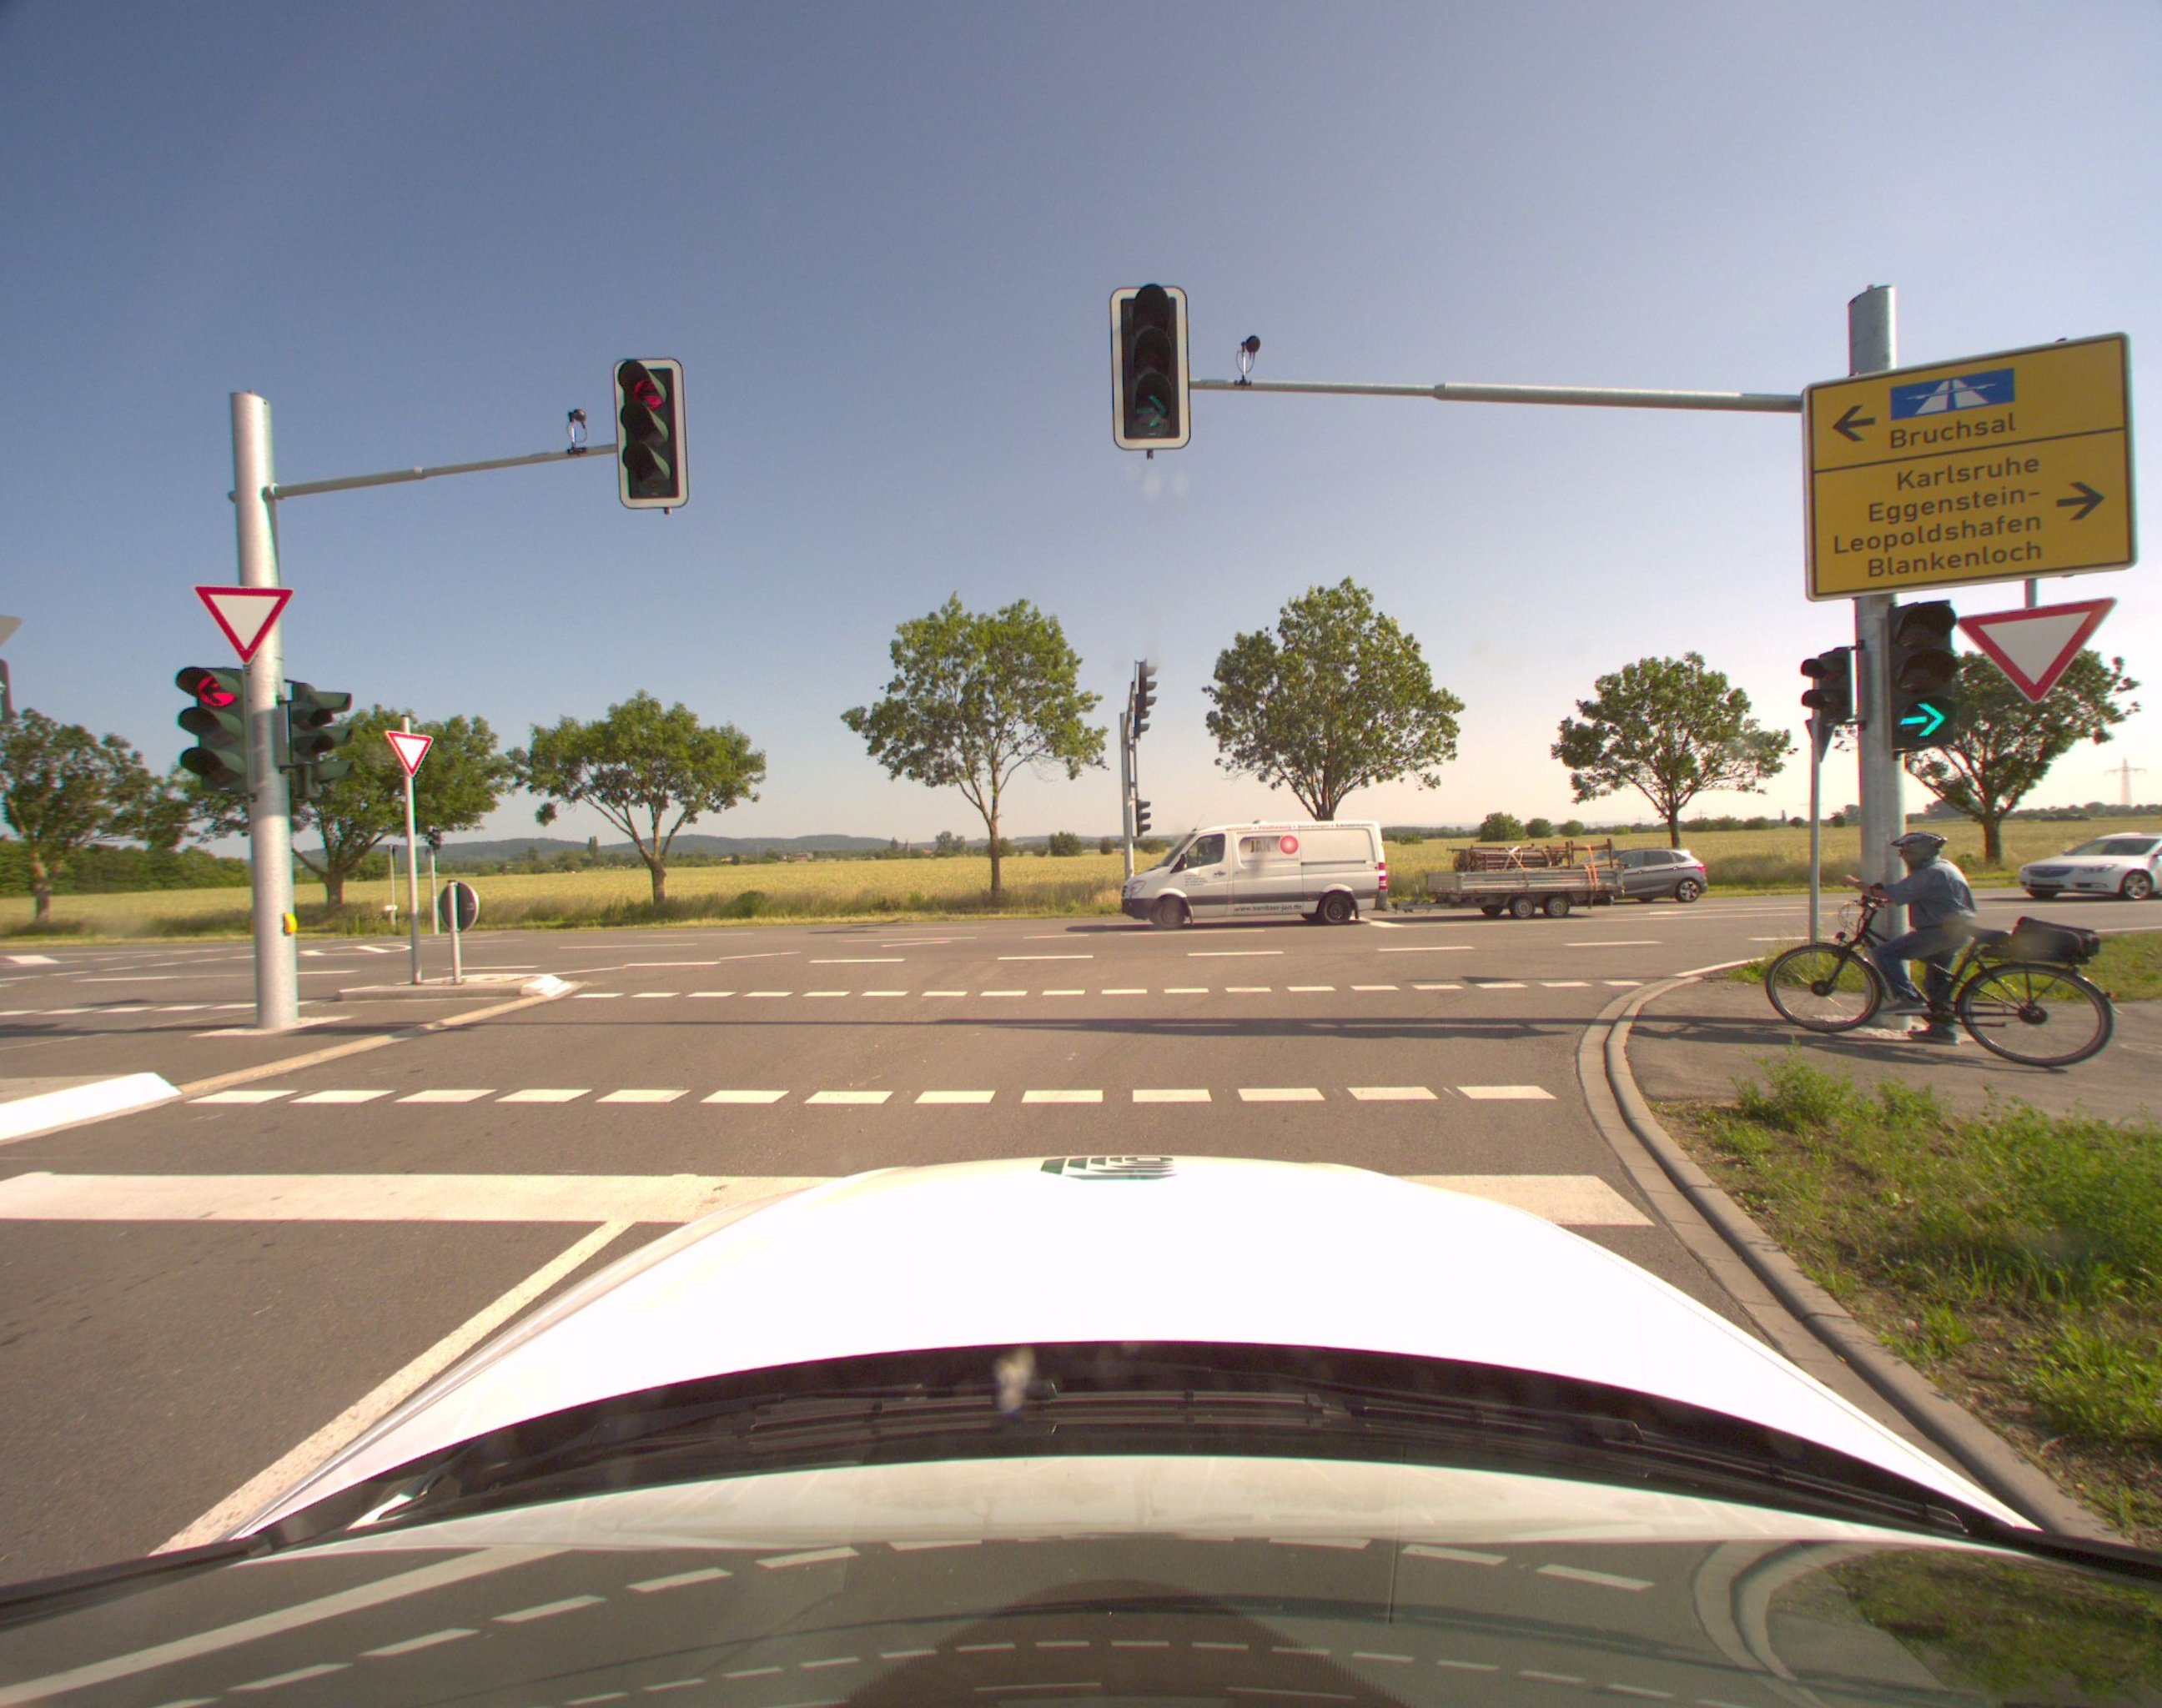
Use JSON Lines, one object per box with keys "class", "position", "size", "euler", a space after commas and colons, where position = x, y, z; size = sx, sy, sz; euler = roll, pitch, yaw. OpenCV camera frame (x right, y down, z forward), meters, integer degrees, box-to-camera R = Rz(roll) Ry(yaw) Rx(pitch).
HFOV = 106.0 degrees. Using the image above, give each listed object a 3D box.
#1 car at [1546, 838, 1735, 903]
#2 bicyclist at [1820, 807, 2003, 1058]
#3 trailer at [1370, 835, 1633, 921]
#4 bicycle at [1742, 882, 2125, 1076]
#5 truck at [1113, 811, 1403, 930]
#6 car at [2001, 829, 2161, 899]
{"class": "car", "position": [15.700, 0.485, 23.013], "size": [3.975, 1.625, 1.890], "euler": [-2, -2, -1]}
{"class": "bicyclist", "position": [6.355, 0.539, 6.268], "size": [0.623, 1.765, 0.906], "euler": [0, 1, -44]}
{"class": "trailer", "position": [9.494, 0.541, 18.729], "size": [4.976, 1.738, 1.982], "euler": [-2, -1, 1]}
{"class": "bicycle", "position": [6.375, 0.848, 6.252], "size": [0.685, 1.151, 1.922], "euler": [0, 1, -44]}
{"class": "truck", "position": [3.879, 0.371, 18.670], "size": [6.158, 2.405, 2.071], "euler": [-2, -1, -1]}
{"class": "car", "position": [24.633, 0.182, 18.907], "size": [4.681, 1.492, 1.763], "euler": [-2, -1, -3]}
